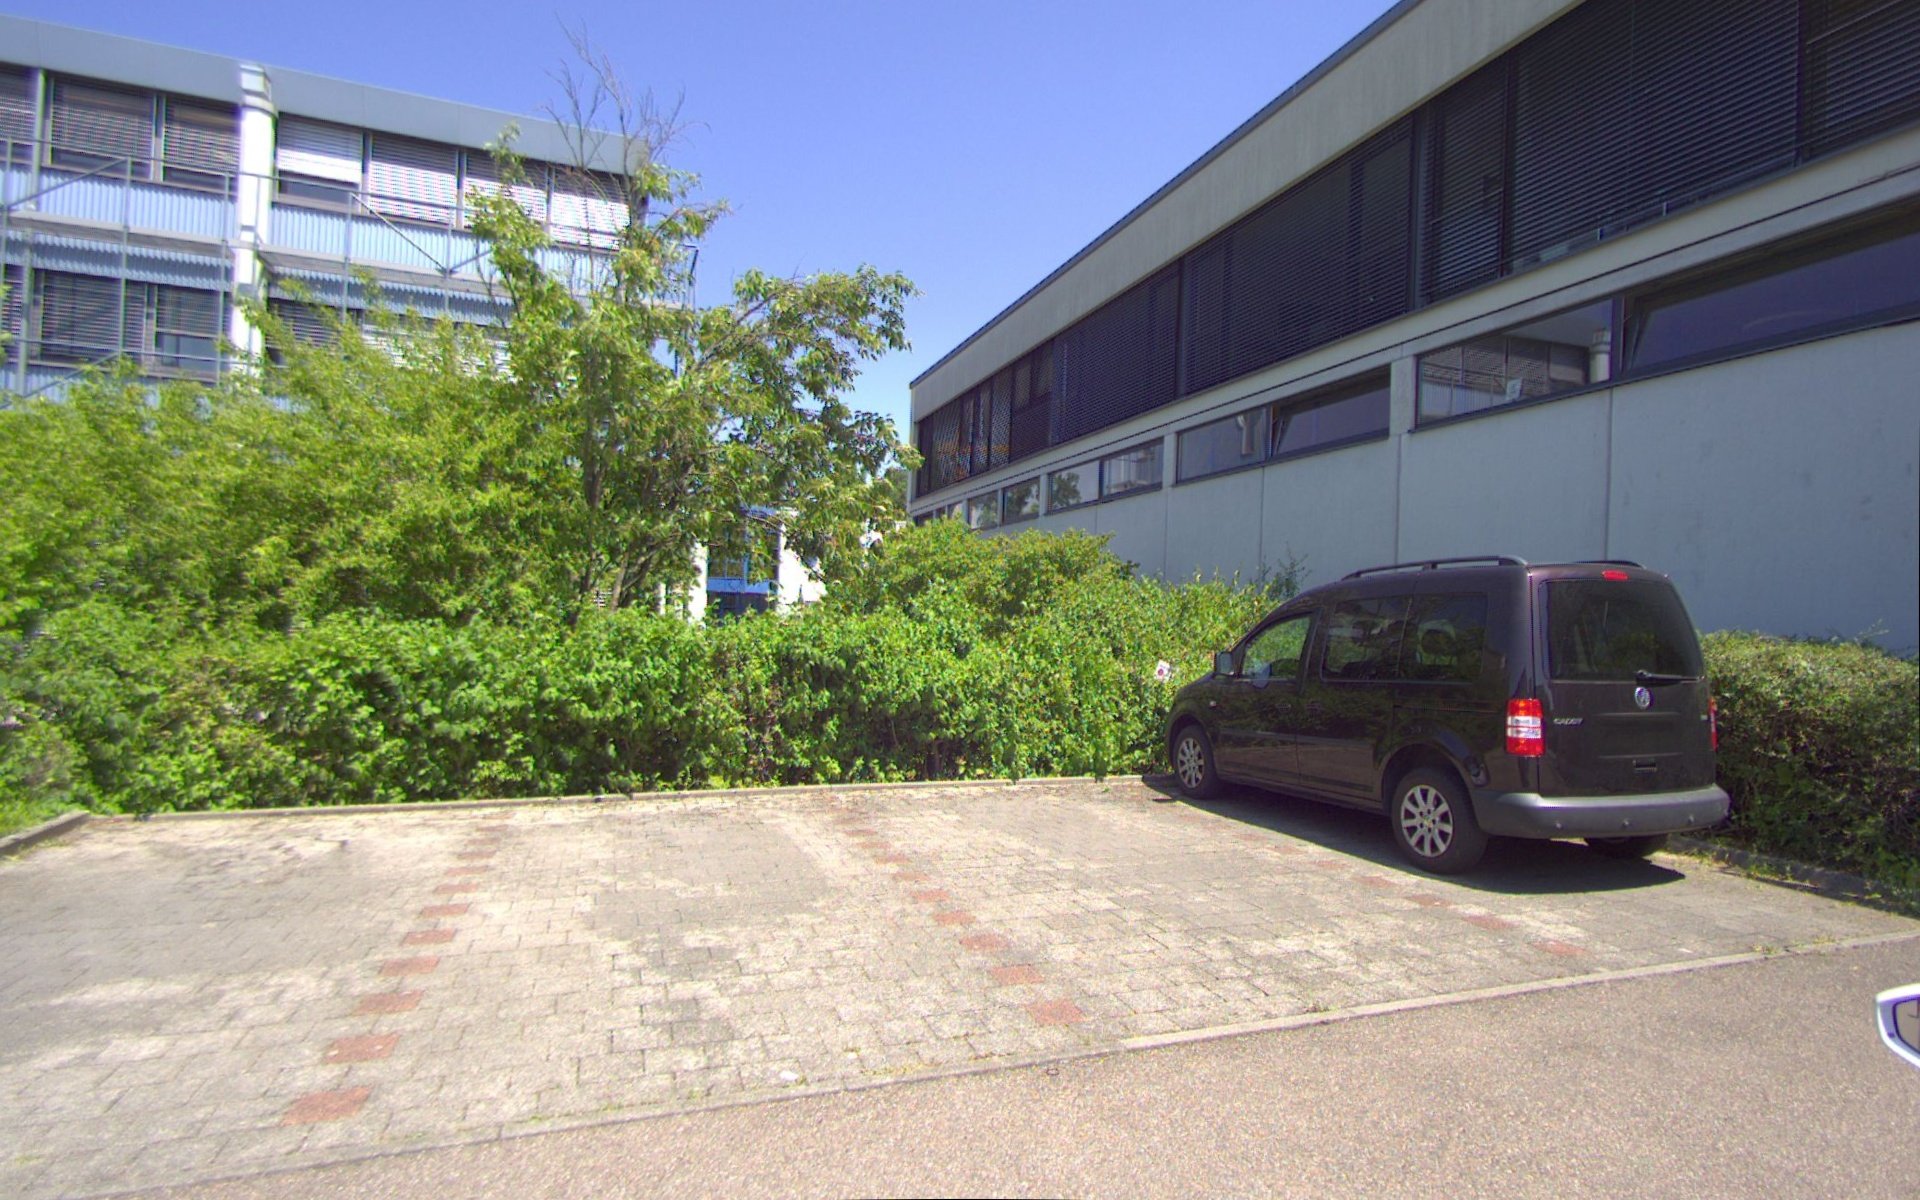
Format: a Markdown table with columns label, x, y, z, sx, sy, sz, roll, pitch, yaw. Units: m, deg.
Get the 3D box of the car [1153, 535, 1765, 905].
| label | x | y | z | sx | sy | sz | roll | pitch | yaw |
| --- | --- | --- | --- | --- | --- | --- | --- | --- | --- |
| car | 3.164 | 0.651 | 7.383 | 1.652 | 1.909 | 4.055 | 1 | -1 | -18 |
